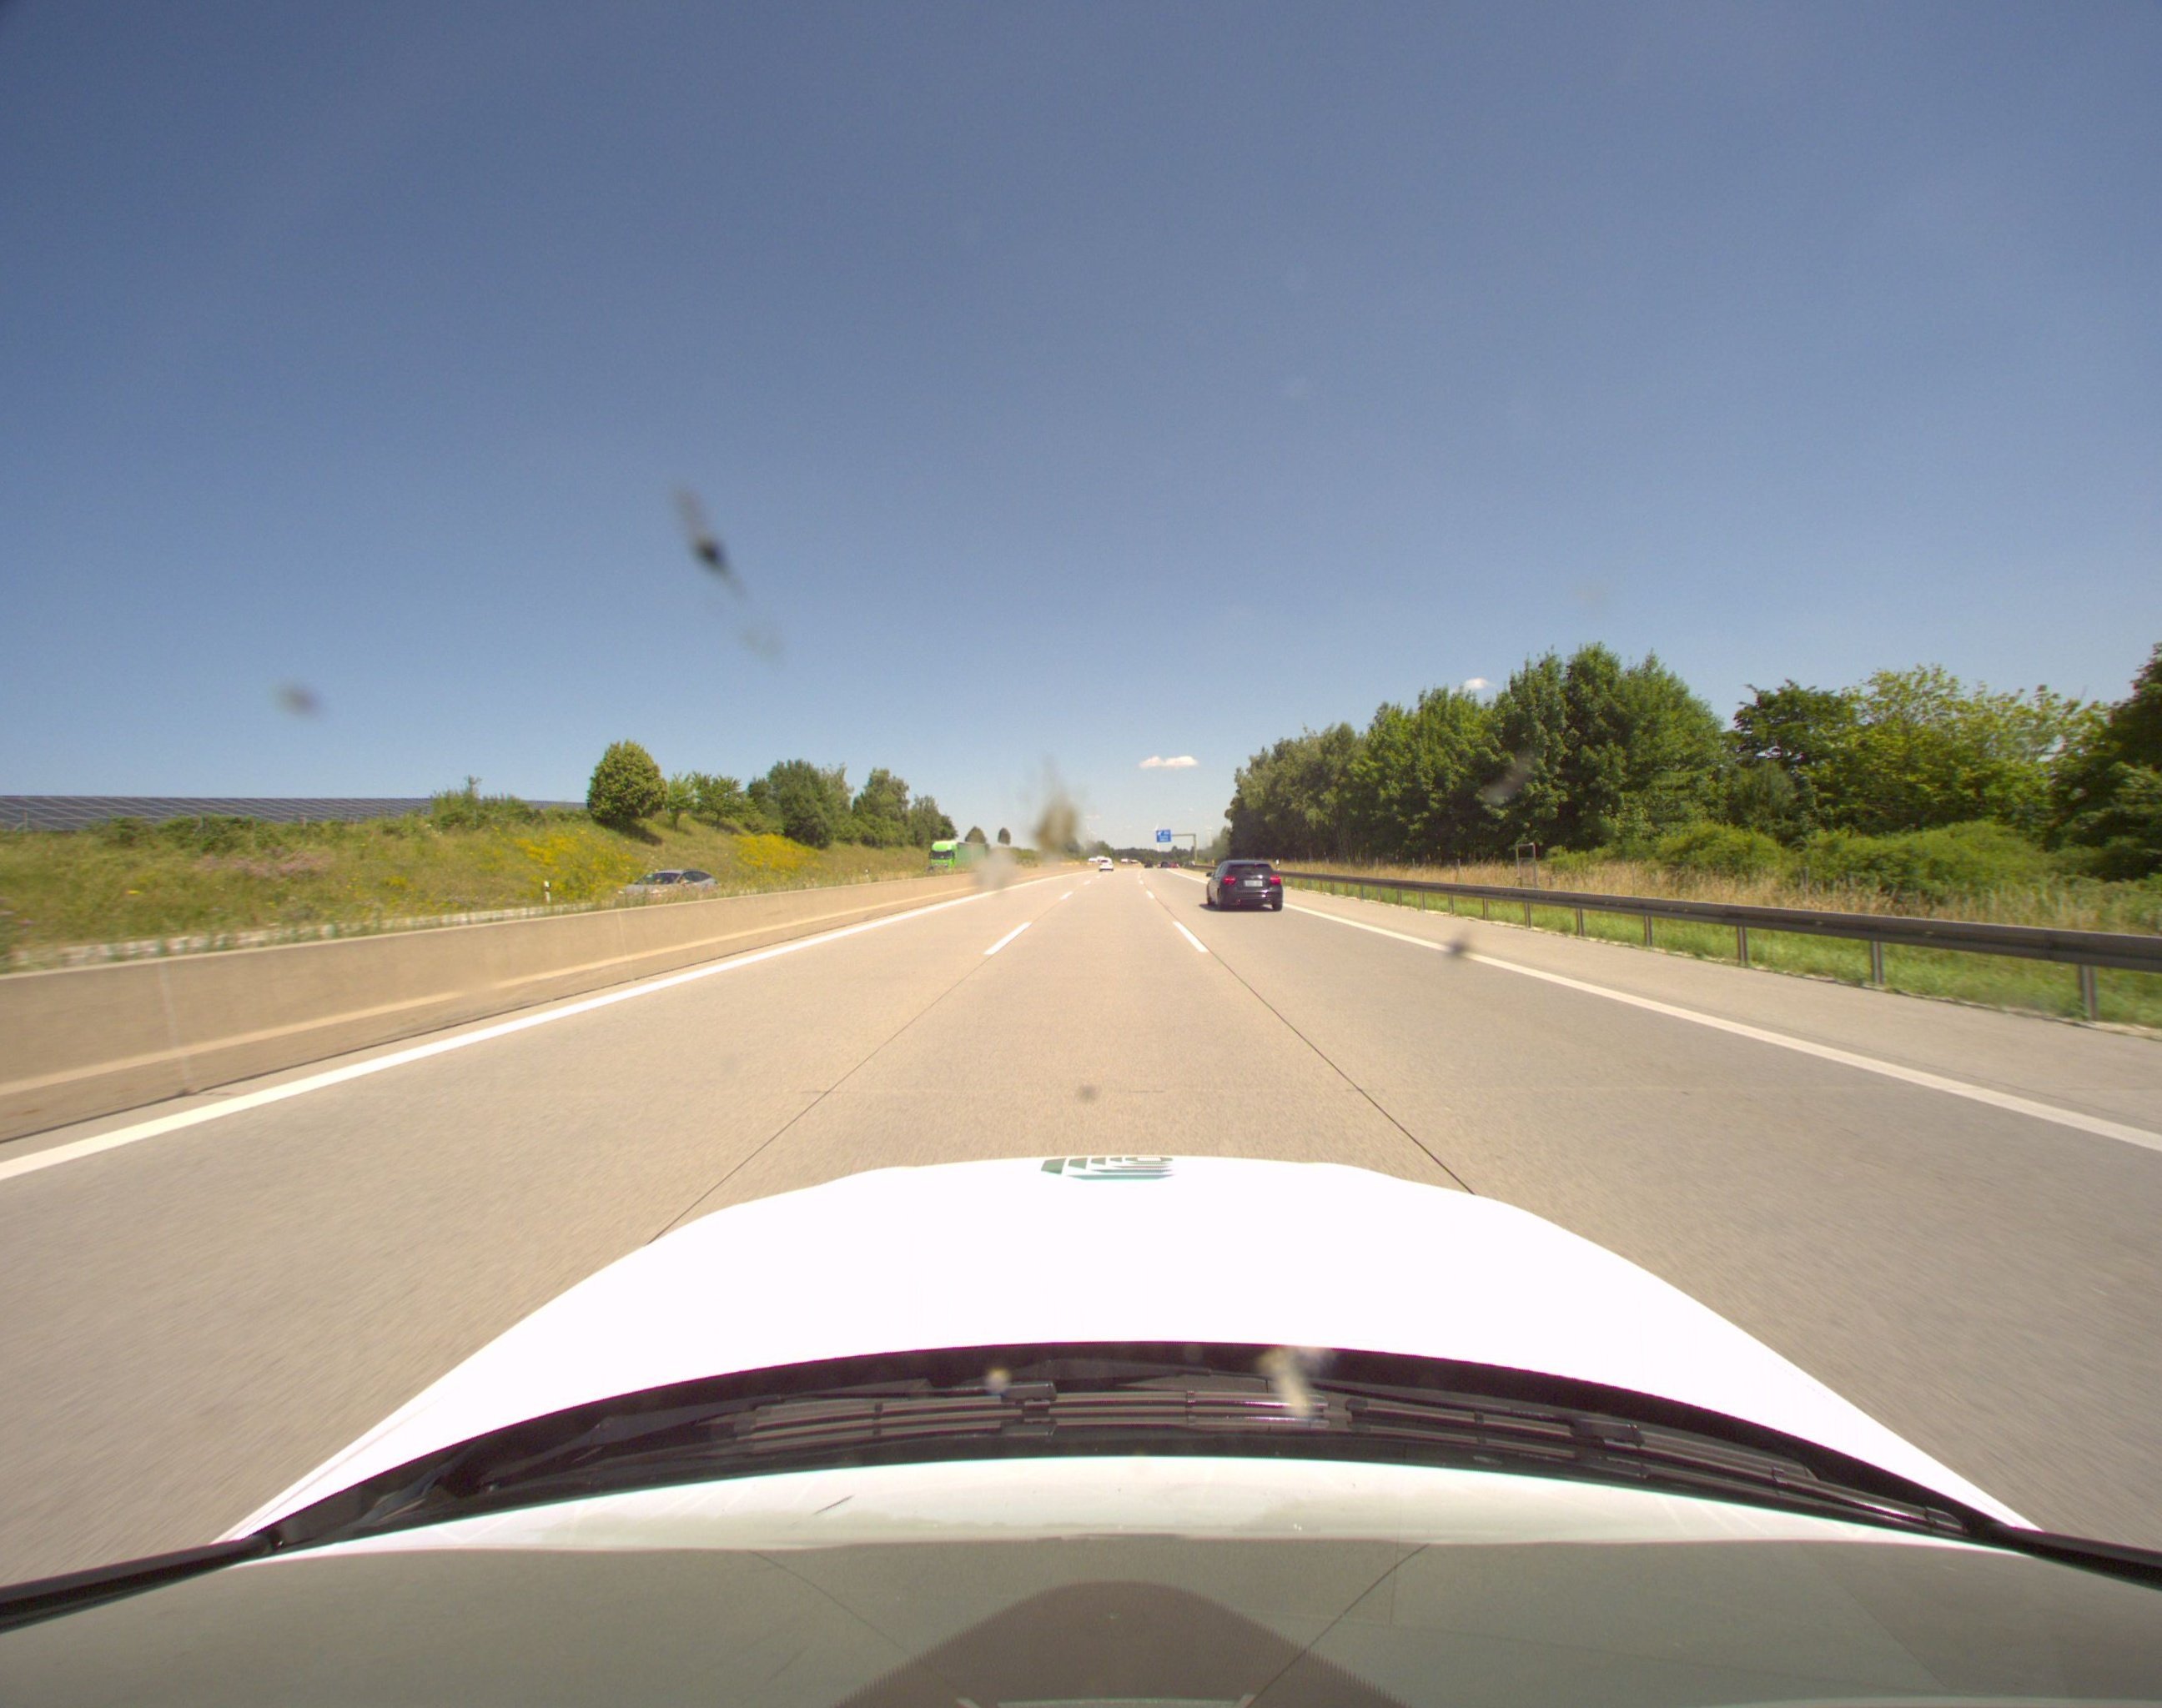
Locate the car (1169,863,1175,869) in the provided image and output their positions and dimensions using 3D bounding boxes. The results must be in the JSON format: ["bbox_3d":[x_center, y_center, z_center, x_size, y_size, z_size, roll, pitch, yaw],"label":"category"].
[{"bbox_3d":[28.222,3.840,252.890,1.781,1.810,3.748,-1,0,3],"label":"car"}]

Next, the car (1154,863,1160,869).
[{"bbox_3d":[24.201,3.819,259.792,1.737,1.990,4.003,-1,0,3],"label":"car"}]

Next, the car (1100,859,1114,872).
[{"bbox_3d":[3.525,1.607,111.273,1.838,1.708,6.038,-1,-1,2],"label":"car"}]

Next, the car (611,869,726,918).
[{"bbox_3d":[-15.242,1.405,30.421,1.719,1.584,4.647,-1,0,2],"label":"car"}]

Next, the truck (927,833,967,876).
[{"bbox_3d":[-15.197,0.069,92.606,3.076,4.662,6.270,-1,-1,3],"label":"truck"}]

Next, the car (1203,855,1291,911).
[{"bbox_3d":[4.822,0.797,24.219,1.903,1.492,4.194,0,0,2],"label":"car"}]

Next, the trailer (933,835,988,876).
[{"bbox_3d":[-14.644,0.175,100.814,3.143,4.607,16.453,-1,0,4],"label":"trailer"}]

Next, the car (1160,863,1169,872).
[{"bbox_3d":[19.138,3.152,187.088,1.819,1.907,4.003,-1,0,3],"label":"car"}]
